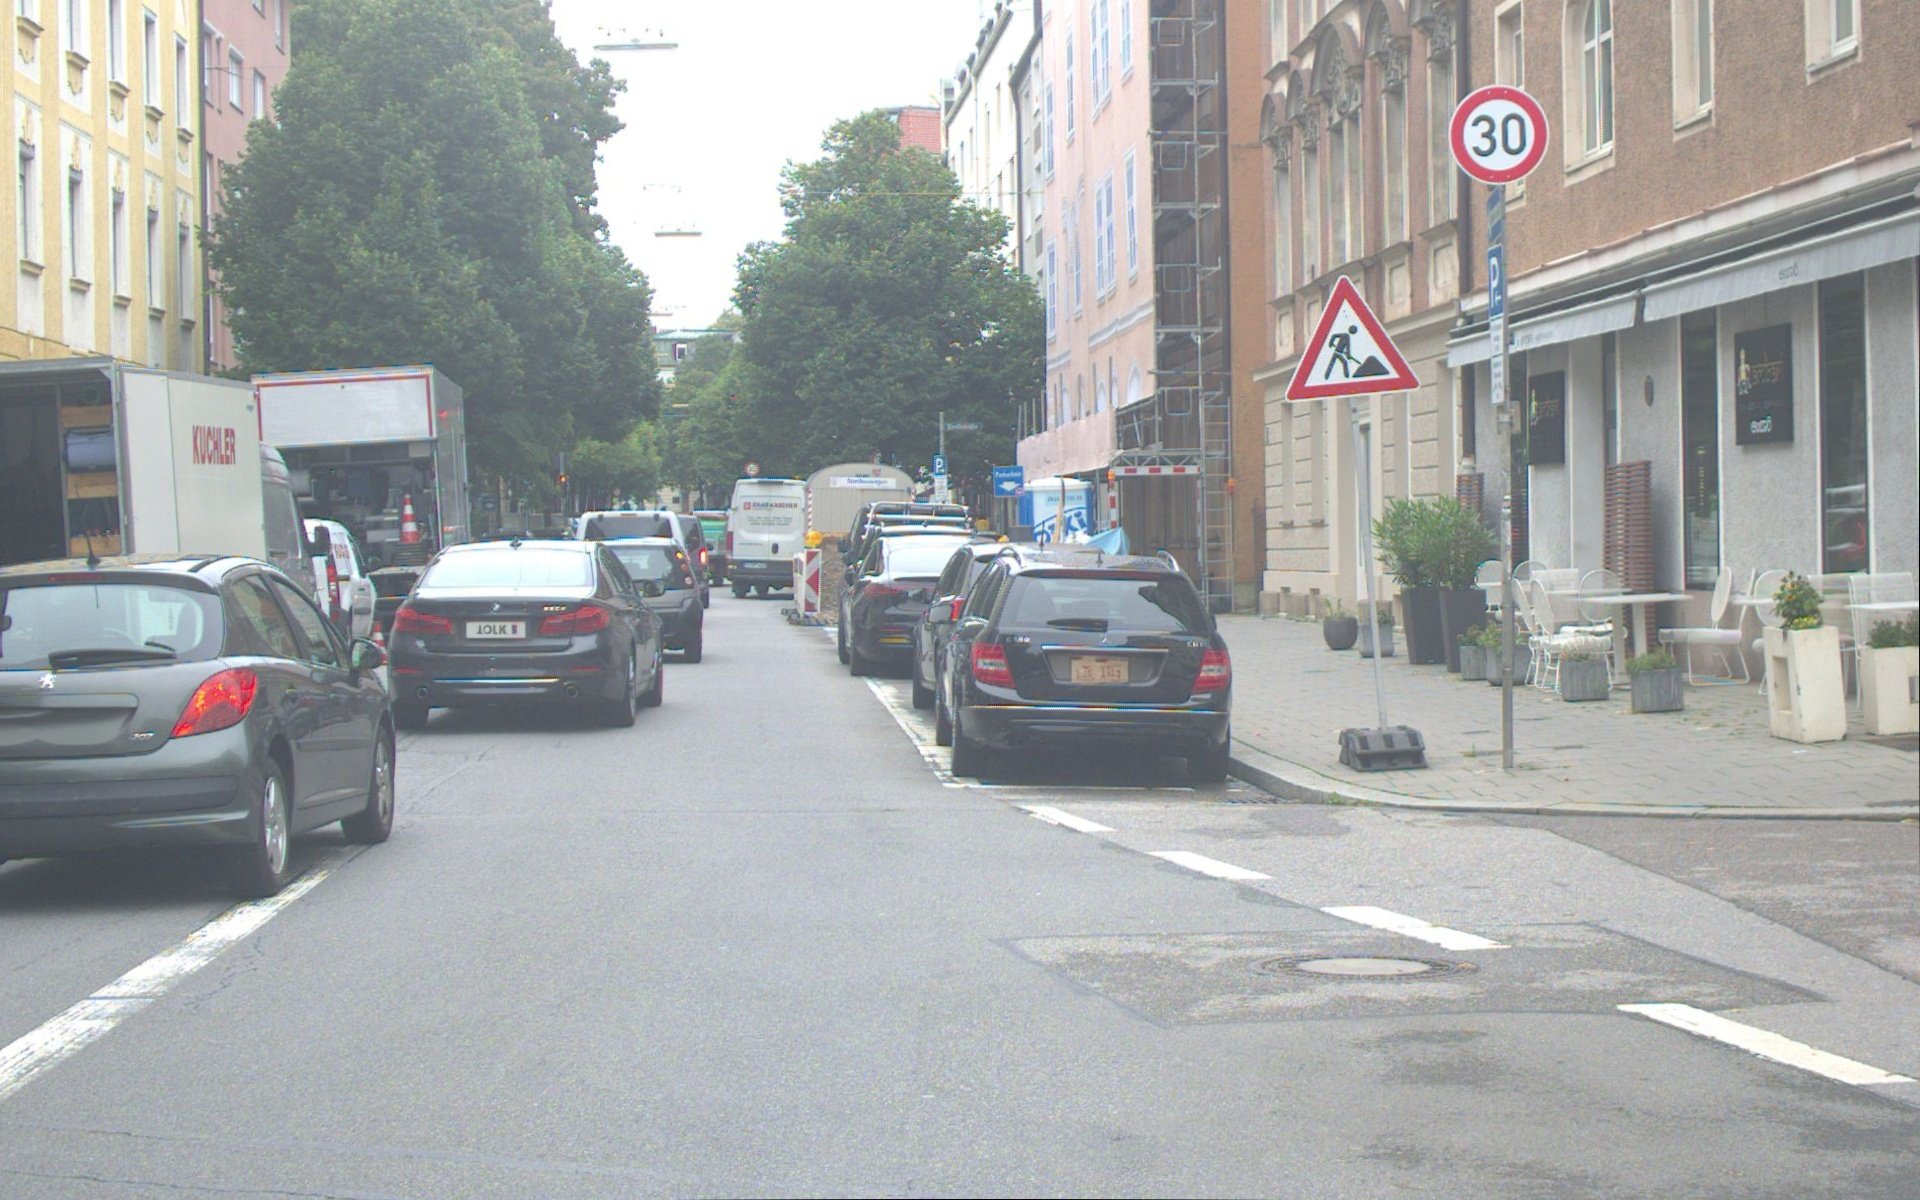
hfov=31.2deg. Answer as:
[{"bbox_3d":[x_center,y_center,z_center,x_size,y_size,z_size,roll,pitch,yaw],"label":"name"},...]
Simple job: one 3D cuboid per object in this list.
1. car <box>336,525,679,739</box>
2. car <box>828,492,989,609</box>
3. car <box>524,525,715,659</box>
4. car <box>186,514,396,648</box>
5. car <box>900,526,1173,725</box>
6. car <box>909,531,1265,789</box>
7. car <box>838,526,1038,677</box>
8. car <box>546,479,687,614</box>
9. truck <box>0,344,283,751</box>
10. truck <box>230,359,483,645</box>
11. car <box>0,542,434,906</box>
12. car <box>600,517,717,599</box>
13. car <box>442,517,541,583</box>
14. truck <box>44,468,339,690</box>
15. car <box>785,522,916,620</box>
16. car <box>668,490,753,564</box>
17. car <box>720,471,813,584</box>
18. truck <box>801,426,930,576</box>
[{"bbox_3d":[-3.509,0.180,27.589,1.990,1.424,4.906,-2,2,1],"label":"car"},{"bbox_3d":[-0.728,-0.685,45.234,1.990,1.424,4.141,-1,2,-2],"label":"car"},{"bbox_3d":[-3.980,-0.138,40.792,1.990,1.424,4.141,-1,2,-2],"label":"car"},{"bbox_3d":[-8.407,-0.273,43.540,1.990,1.605,4.141,0,1,-2],"label":"car"},{"bbox_3d":[0.561,0.158,28.717,1.844,1.424,4.141,2,2,-4],"label":"car"},{"bbox_3d":[0.732,0.318,22.706,1.844,1.424,4.184,2,2,-4],"label":"car"},{"bbox_3d":[-0.298,-0.026,37.367,1.844,1.424,4.307,2,2,-4],"label":"car"},{"bbox_3d":[-5.504,-0.899,55.574,1.990,2.068,4.141,-1,2,-2],"label":"car"},{"bbox_3d":[-7.472,-0.482,27.862,2.773,2.863,7.203,-1,2,-2],"label":"truck"},{"bbox_3d":[-8.824,-1.424,51.025,3.012,3.938,6.997,0,1,-4],"label":"truck"},{"bbox_3d":[-3.683,0.478,16.014,1.759,1.456,4.074,-1,1,1],"label":"car"},{"bbox_3d":[-5.675,-0.811,65.058,1.990,1.424,4.141,-1,2,-2],"label":"car"},{"bbox_3d":[-10.628,-1.143,78.192,1.939,1.443,3.867,0,1,-4],"label":"car"},{"bbox_3d":[-7.976,-0.258,36.157,2.286,2.164,4.807,0,1,-4],"label":"truck"},{"bbox_3d":[-1.772,-0.496,54.908,1.990,1.424,4.141,-1,2,-2],"label":"car"},{"bbox_3d":[-6.502,-1.910,90.069,1.993,1.897,4.000,0,1,-1],"label":"car"},{"bbox_3d":[-4.366,-1.636,78.036,1.939,2.472,4.783,0,1,-1],"label":"car"},{"bbox_3d":[-2.001,-2.025,71.167,2.491,2.963,5.328,0,1,-3],"label":"truck"}]
